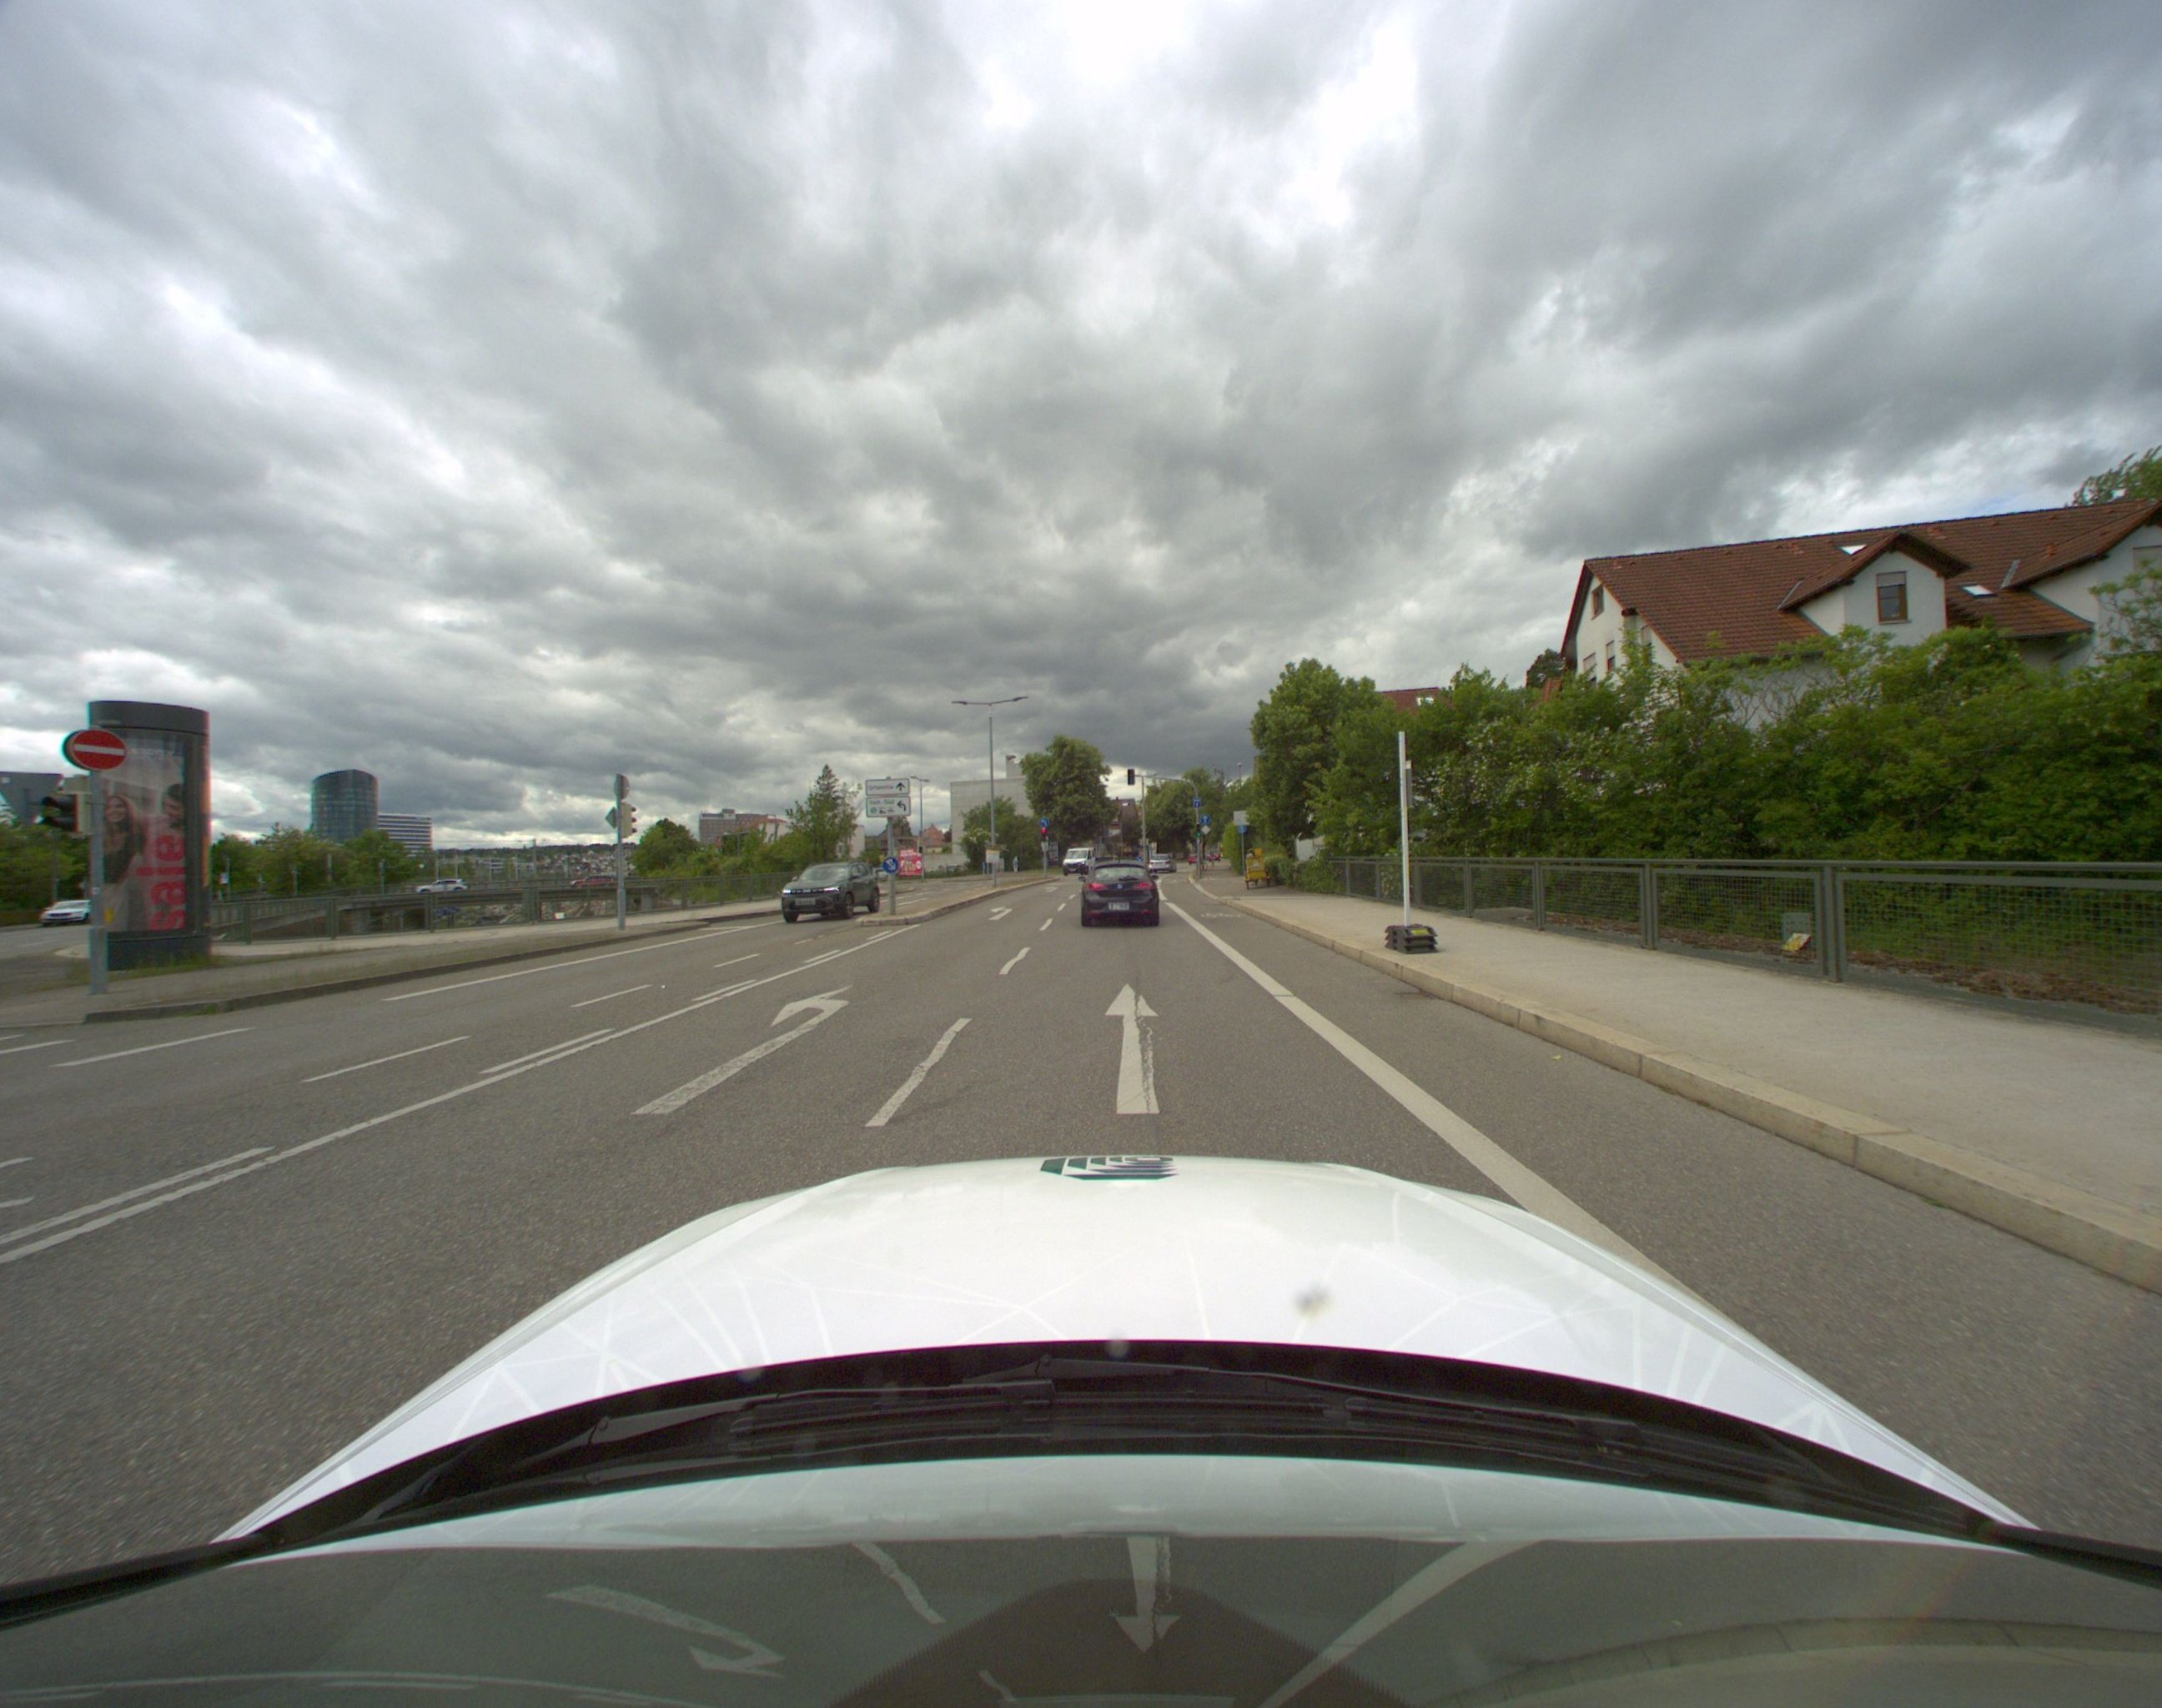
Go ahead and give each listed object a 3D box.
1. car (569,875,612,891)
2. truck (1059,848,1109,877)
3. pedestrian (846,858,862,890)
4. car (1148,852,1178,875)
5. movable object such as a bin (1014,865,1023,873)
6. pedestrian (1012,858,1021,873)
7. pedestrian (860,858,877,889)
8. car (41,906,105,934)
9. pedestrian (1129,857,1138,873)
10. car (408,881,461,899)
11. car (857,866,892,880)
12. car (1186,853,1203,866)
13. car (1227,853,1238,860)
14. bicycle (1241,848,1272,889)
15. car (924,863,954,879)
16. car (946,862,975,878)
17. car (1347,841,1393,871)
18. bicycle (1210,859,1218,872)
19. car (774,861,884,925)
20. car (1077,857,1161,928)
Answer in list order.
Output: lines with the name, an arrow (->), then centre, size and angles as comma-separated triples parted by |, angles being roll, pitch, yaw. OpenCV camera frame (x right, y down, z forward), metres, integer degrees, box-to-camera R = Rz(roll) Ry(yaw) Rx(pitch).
car -> -53.814, 3.205, 89.446 | 4.012, 1.662, 1.781 | 1, 0, -30
truck -> 0.331, 0.651, 68.747 | 2.108, 2.264, 6.837 | -3, 0, 18
pedestrian -> -11.873, 1.039, 42.648 | 0.654, 1.633, 0.832 | -1, -1, -4
car -> 6.495, 0.731, 64.382 | 1.806, 1.699, 4.267 | -3, 0, 12
movable object such as a bin -> -6.352, 1.513, 82.890 | 0.651, 0.798, 0.900 | -2, 0, 10
pedestrian -> -6.490, 1.147, 82.180 | 0.651, 1.522, 0.926 | -2, -1, 10
pedestrian -> -11.115, 1.009, 42.698 | 0.654, 1.633, 1.069 | -1, -1, -4
car -> -67.718, 4.397, 54.786 | 1.910, 1.607, 4.324 | -2, -1, -41
pedestrian -> 5.004, 1.054, 77.730 | 0.771, 1.407, 0.600 | 4, 3, -1
car -> -64.362, 3.581, 81.158 | 4.019, 1.662, 1.716 | 1, 0, -38
car -> -24.720, 2.264, 97.556 | 1.779, 1.554, 4.024 | -2, 0, 27
car -> 14.942, 0.683, 107.395 | 1.929, 1.481, 4.266 | -3, 0, 11
car -> 35.662, 0.511, 191.646 | 1.834, 1.596, 4.125 | -2, 0, 18
bicycle -> 6.879, 0.533, 32.044 | 0.886, 1.510, 2.789 | -4, 0, 8
car -> -18.753, 2.167, 107.634 | 1.976, 2.013, 4.021 | 0, 0, 21
car -> -15.565, 2.047, 105.625 | 1.976, 2.013, 4.021 | 0, 0, 21
car -> 15.577, 0.090, 44.066 | 1.657, 1.449, 4.011 | -3, -1, 10
bicycle -> 10.868, 0.920, 66.477 | 0.624, 1.028, 1.508 | -2, 0, 10
car -> -7.297, 1.057, 24.061 | 1.816, 1.626, 4.279 | -3, 0, 1
car -> 0.981, 0.823, 19.093 | 1.750, 1.448, 3.720 | 0, 0, 6
